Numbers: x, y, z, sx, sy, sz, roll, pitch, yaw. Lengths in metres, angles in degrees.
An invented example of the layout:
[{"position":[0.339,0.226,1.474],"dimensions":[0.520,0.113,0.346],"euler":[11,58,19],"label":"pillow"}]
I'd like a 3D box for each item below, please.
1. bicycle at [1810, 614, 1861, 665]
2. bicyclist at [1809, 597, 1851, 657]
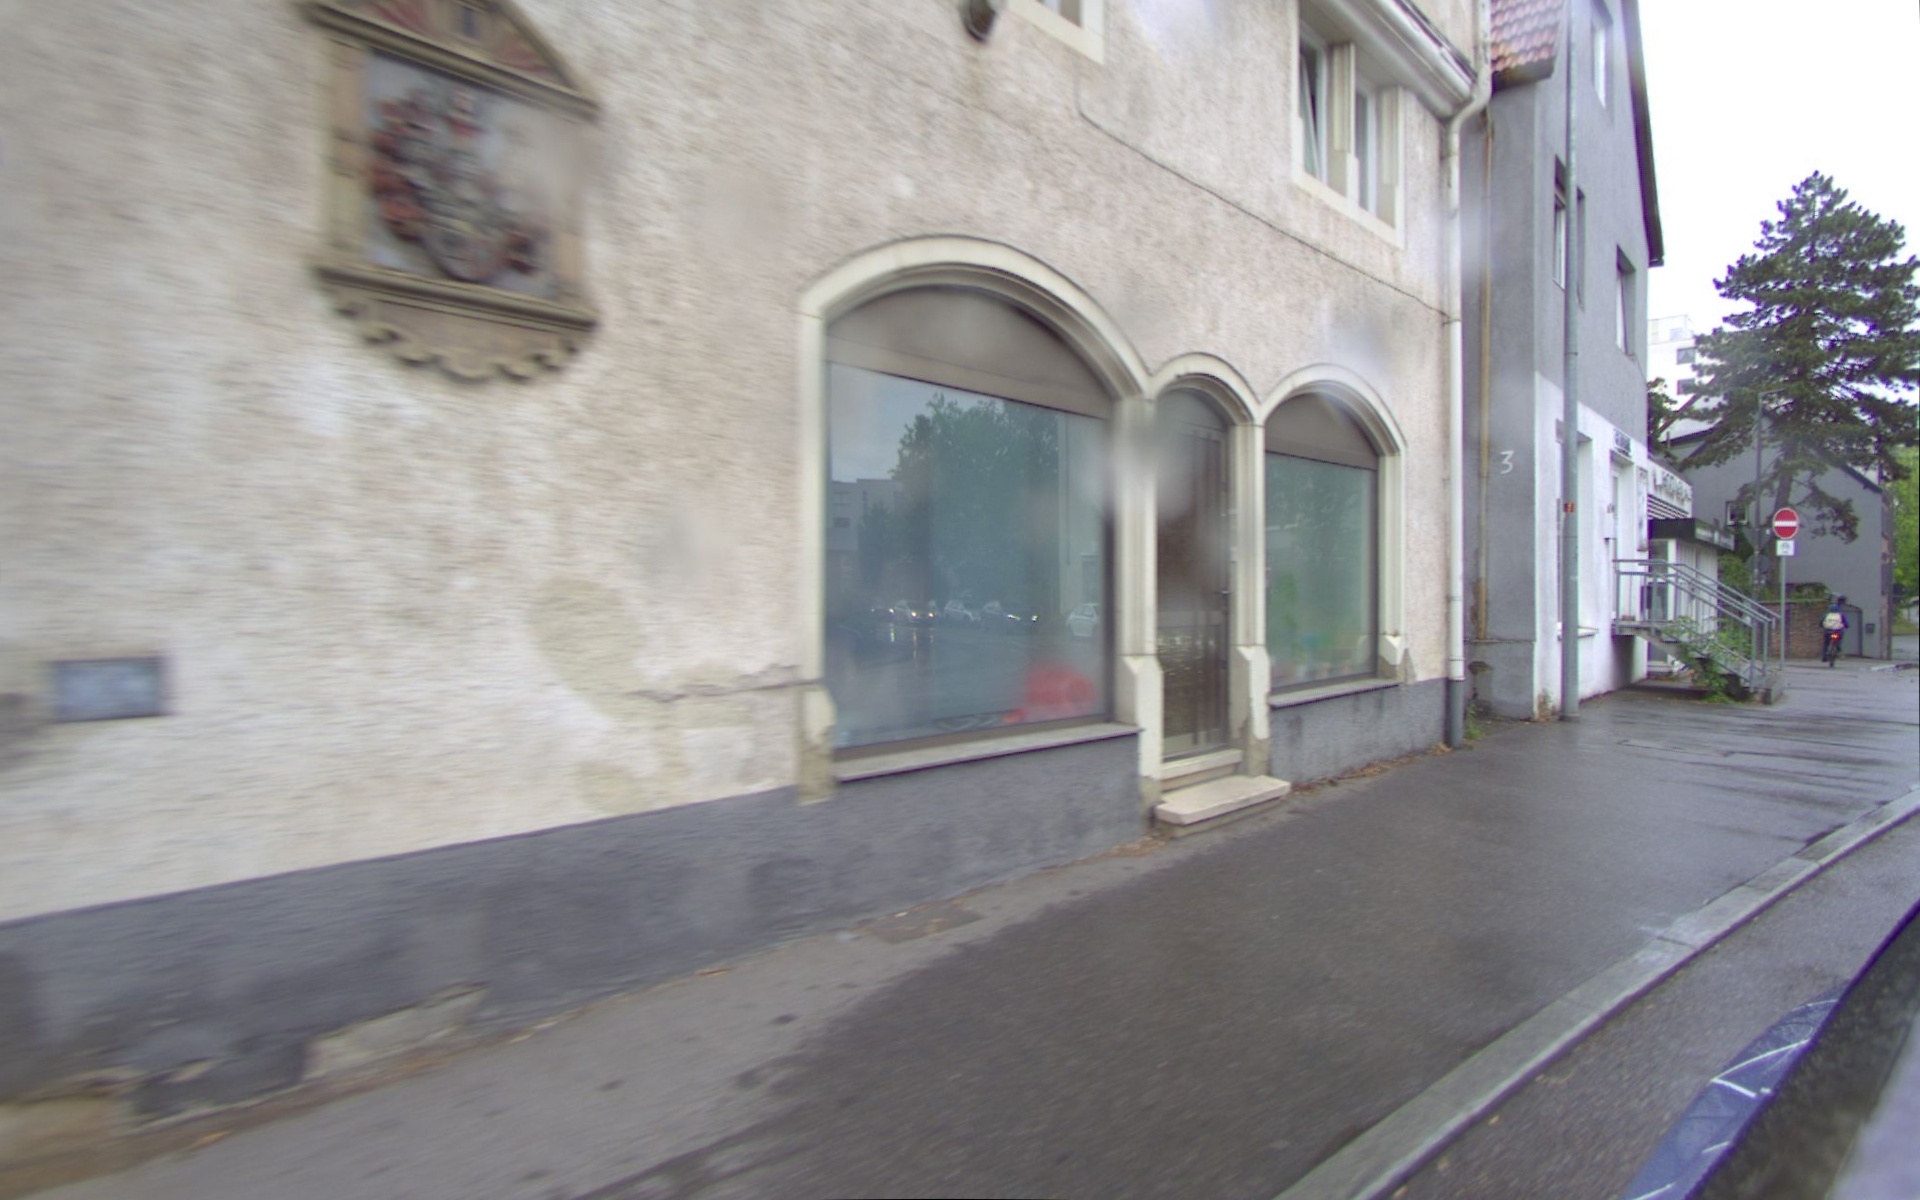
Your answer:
[{"position":[22.796,1.040,26.381],"dimensions":[0.759,1.048,2.053],"euler":[1,-9,35],"label":"bicycle"},{"position":[22.798,0.694,26.528],"dimensions":[0.680,1.537,1.018],"euler":[1,0,33],"label":"bicyclist"}]
